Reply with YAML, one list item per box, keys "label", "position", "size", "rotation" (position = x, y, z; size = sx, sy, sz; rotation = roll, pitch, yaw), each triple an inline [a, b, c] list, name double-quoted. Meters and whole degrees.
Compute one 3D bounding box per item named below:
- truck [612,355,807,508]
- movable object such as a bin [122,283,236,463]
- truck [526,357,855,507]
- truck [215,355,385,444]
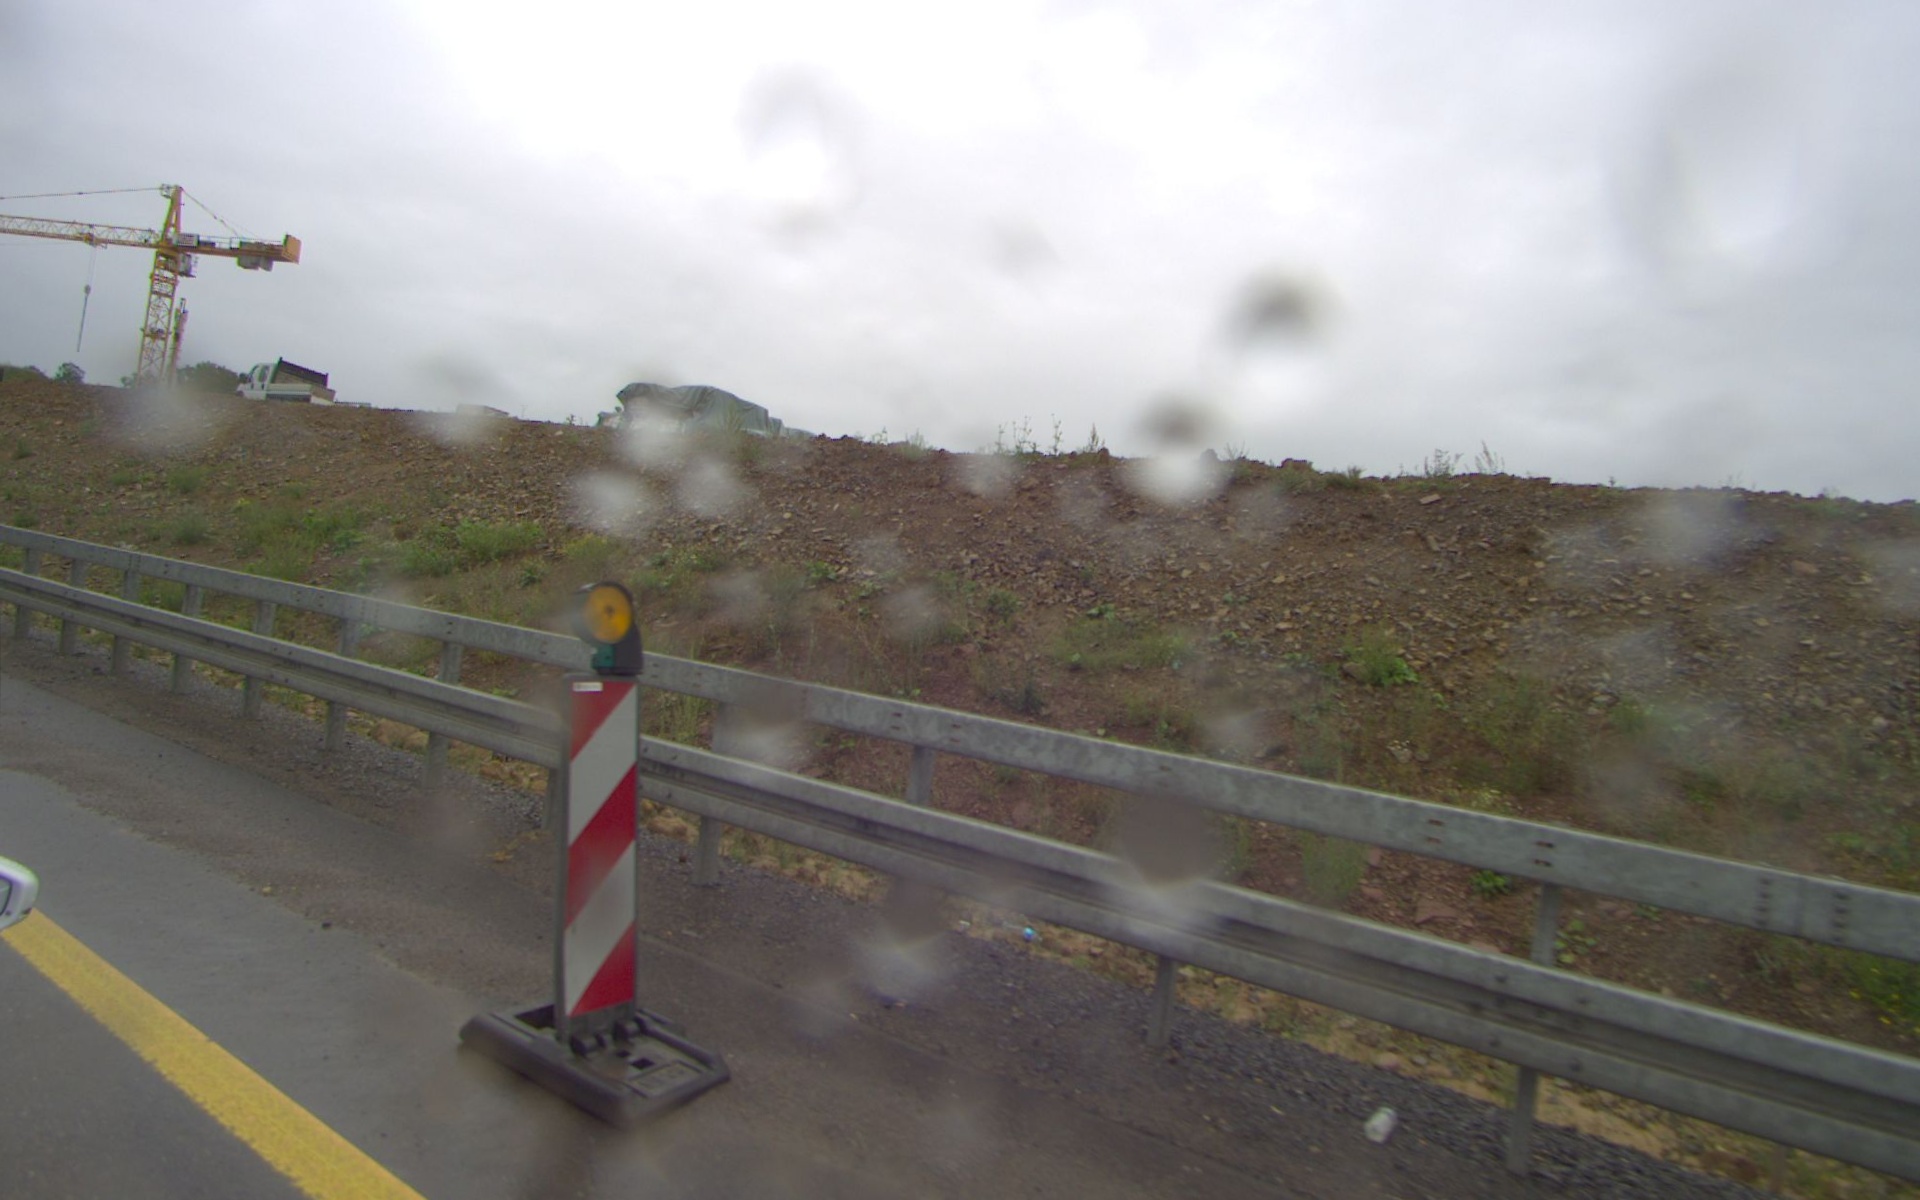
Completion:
- label: "truck"
  position: [-8.303, -5.465, 33.144]
  size: [5.880, 4.268, 2.377]
  rotation: [6, -1, 32]
- label: "movable object such as a bin"
  position: [-57.632, -16.232, 74.092]
  size: [4.705, 10.970, 10.179]
  rotation: [7, -1, -43]
- label: "truck"
  position: [-7.435, -4.367, 27.112]
  size: [8.817, 2.909, 3.399]
  rotation: [6, -2, 34]
- label: "truck"
  position: [-25.533, -7.625, 38.839]
  size: [6.869, 2.585, 2.650]
  rotation: [6, -2, 32]
